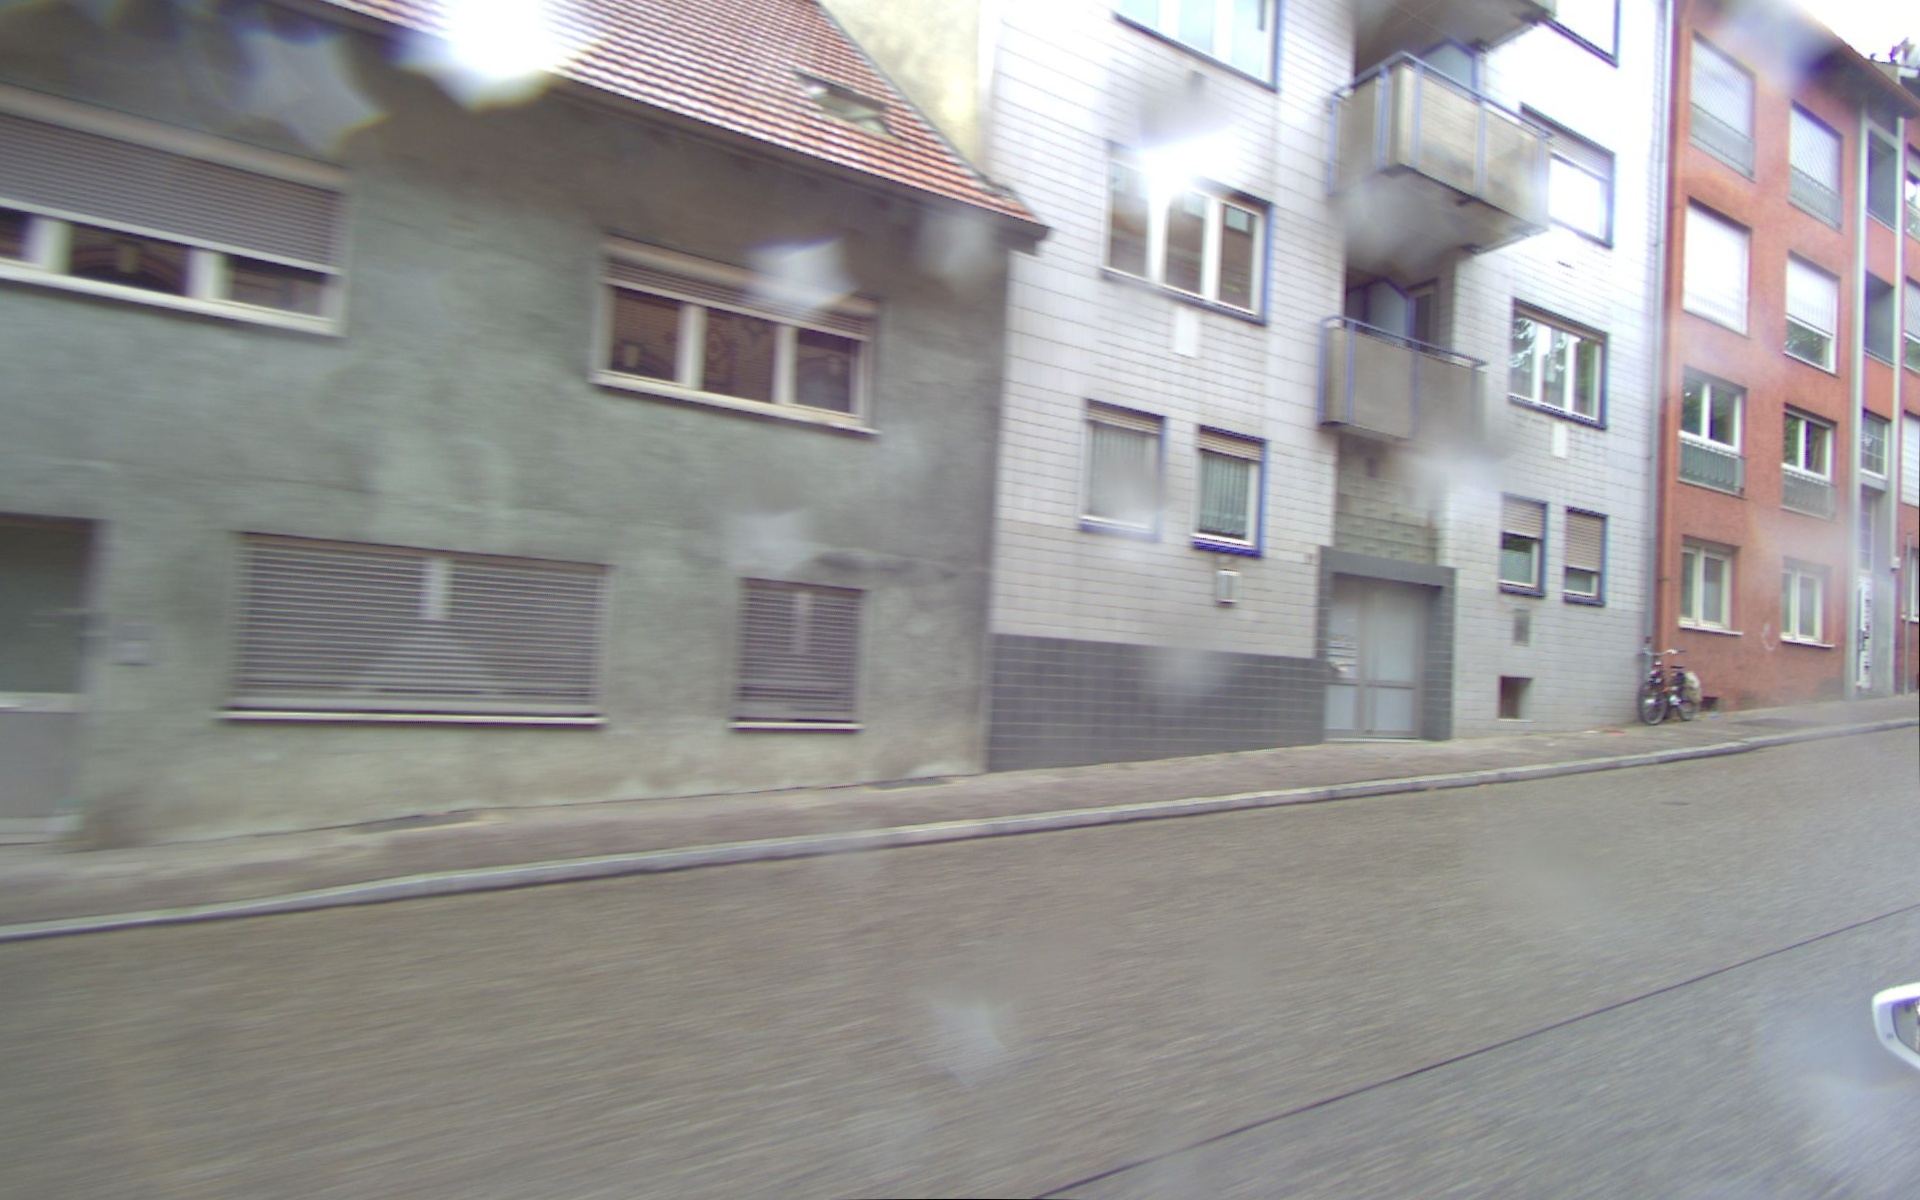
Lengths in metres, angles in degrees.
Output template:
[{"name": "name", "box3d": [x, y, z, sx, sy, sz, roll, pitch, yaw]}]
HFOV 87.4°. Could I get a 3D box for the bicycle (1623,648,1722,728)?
[{"name": "bicycle", "box3d": [10.912, 1.318, 15.375, 1.778, 1.122, 0.496, 0, -1, -29]}]
